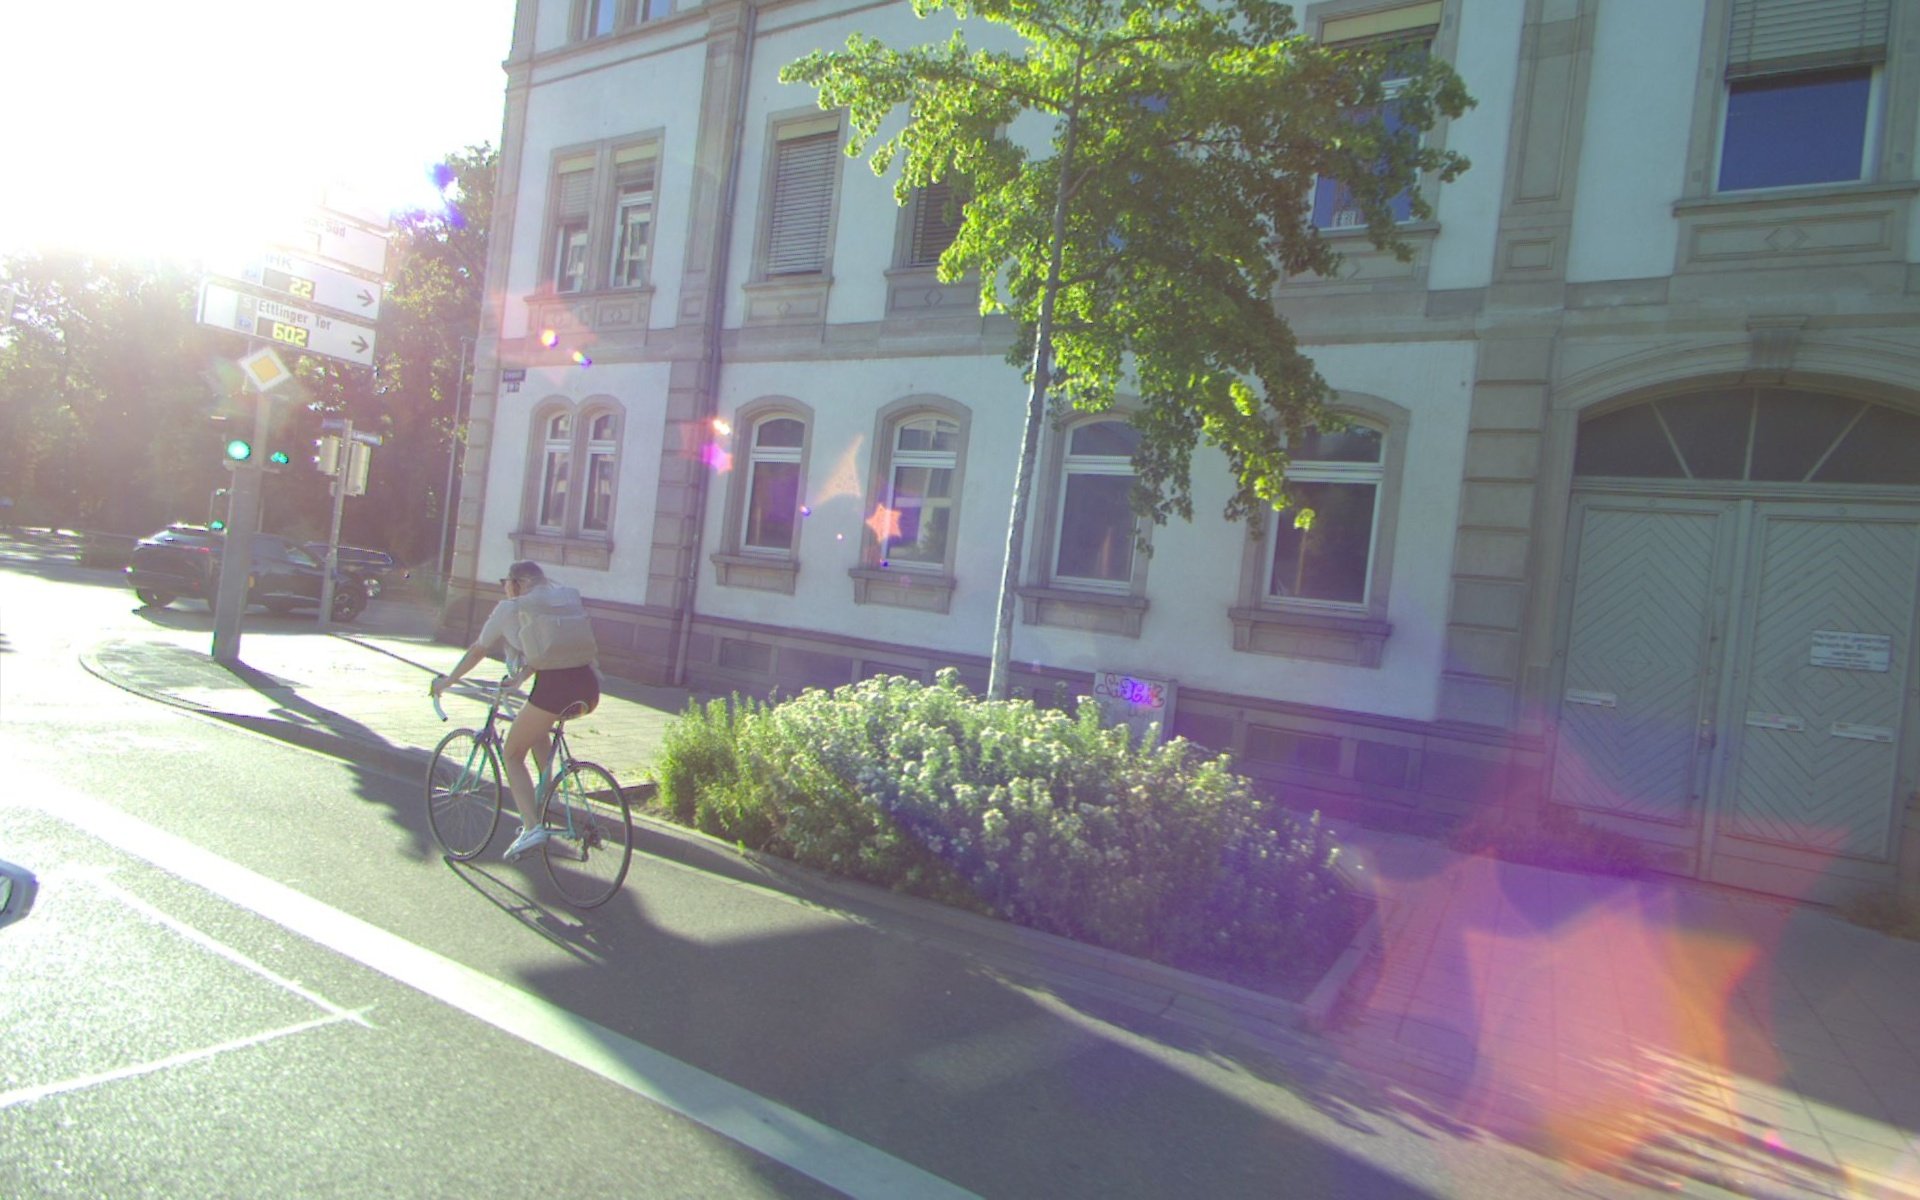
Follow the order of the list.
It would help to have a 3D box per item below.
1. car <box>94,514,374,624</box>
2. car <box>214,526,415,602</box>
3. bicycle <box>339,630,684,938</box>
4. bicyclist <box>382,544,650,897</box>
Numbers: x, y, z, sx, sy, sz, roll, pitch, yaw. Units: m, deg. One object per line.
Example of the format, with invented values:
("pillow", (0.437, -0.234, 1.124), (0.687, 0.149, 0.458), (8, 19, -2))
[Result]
("car", (-13.510, -0.486, 19.076), (1.867, 1.545, 4.063), (7, -2, 8))
("car", (-18.145, -0.979, 28.447), (4.560, 1.491, 1.886), (8, -2, -35))
("bicycle", (-2.274, 0.824, 5.006), (1.812, 1.111, 0.521), (7, 0, 31))
("bicyclist", (-2.217, 0.546, 5.011), (1.063, 1.509, 0.553), (7, 0, 31))
